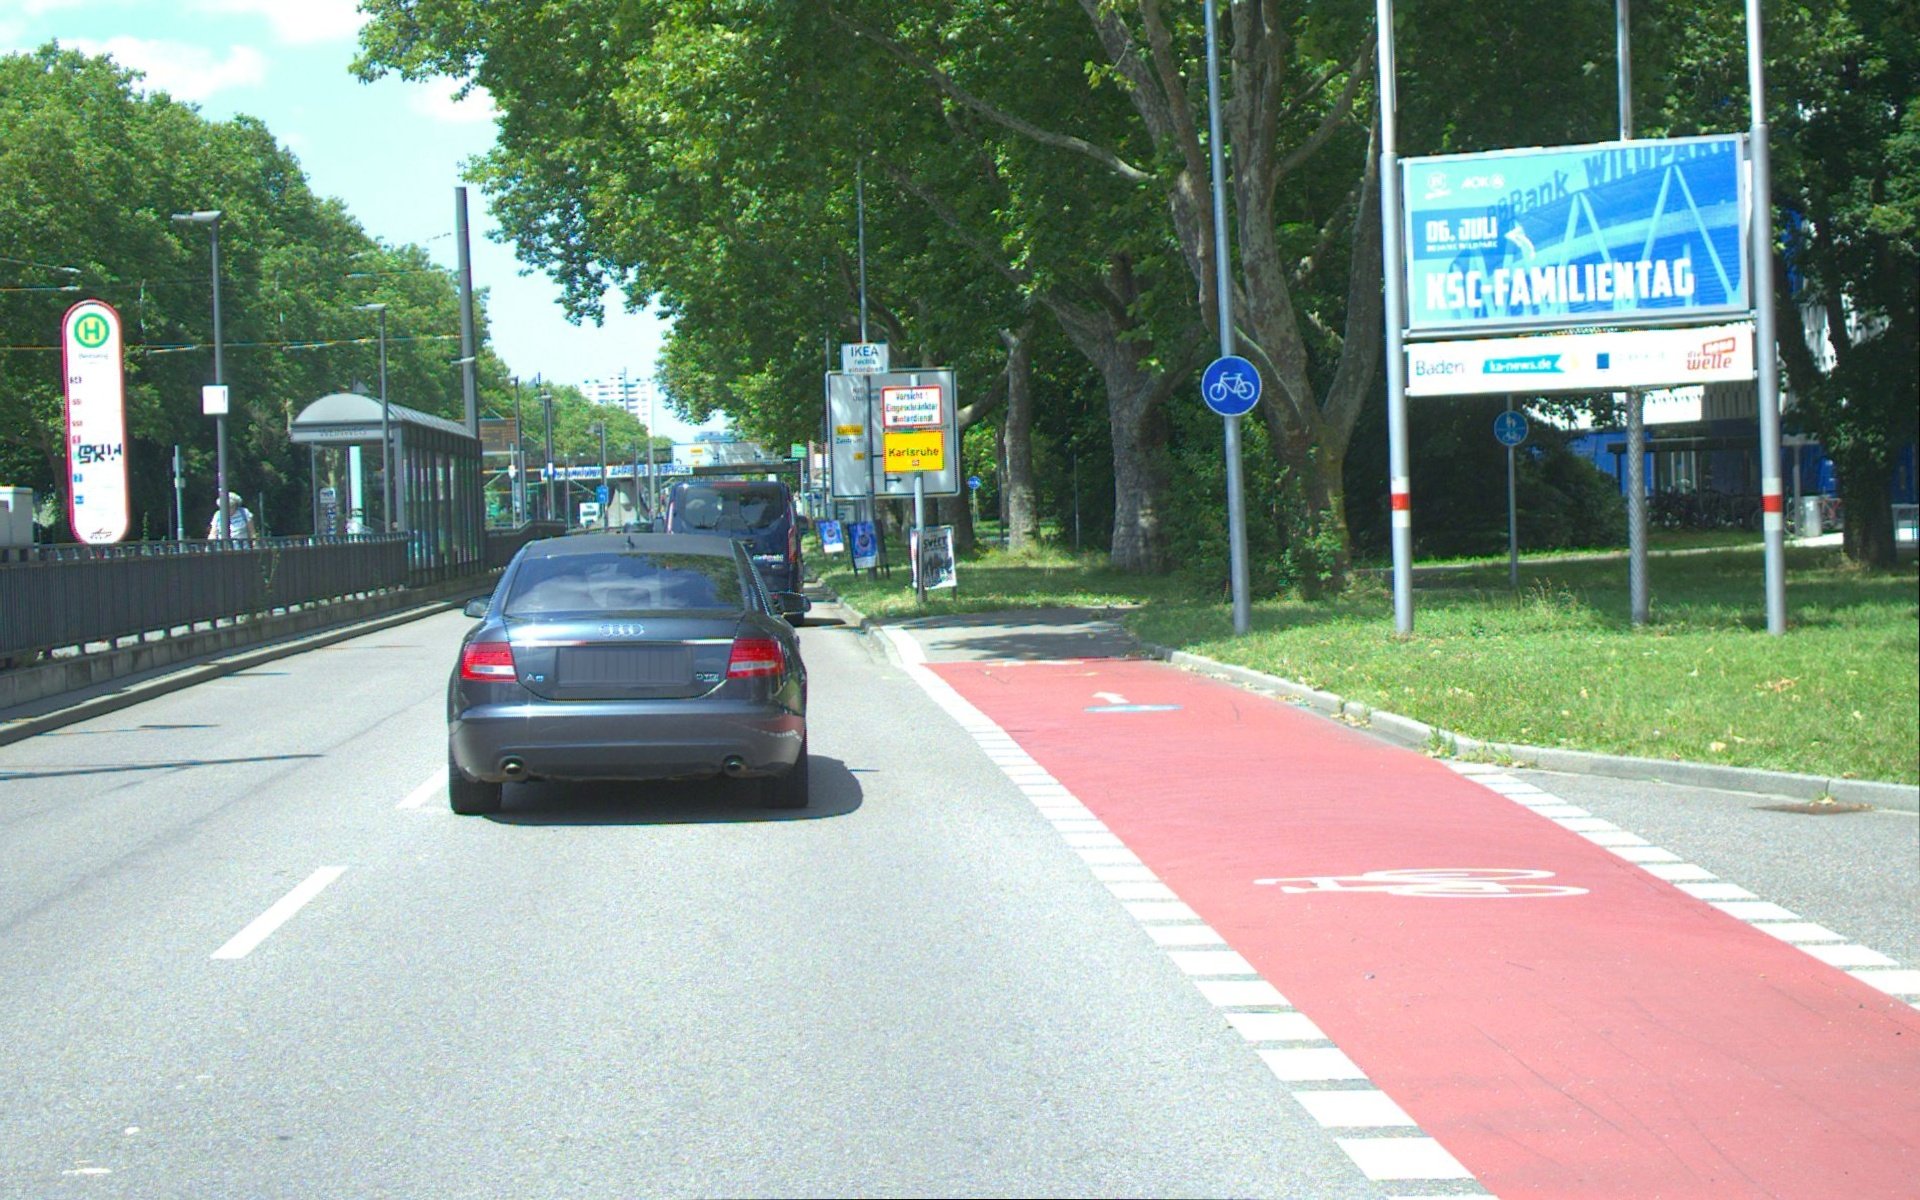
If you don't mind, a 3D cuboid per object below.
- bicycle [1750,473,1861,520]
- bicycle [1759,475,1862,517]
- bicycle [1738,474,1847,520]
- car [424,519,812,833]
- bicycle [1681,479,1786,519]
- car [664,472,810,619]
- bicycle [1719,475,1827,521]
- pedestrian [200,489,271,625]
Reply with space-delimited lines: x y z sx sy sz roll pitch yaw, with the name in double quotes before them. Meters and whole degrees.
"bicycle" 20.973 -2.563 85.272 2.545 1.107 0.759 -2 2 -7
"bicycle" 20.817 -2.542 84.148 2.315 0.957 0.759 -2 2 -7
"bicycle" 20.896 -2.582 86.316 2.545 1.107 0.759 -2 2 -7
"car" -1.792 0.317 18.517 1.842 1.479 4.001 -1 2 -4
"bicycle" 20.223 -2.645 89.873 2.545 0.967 0.759 -2 2 -7
"car" -3.078 -0.782 48.047 1.848 1.952 4.145 0 1 -1
"bicycle" 20.658 -2.601 87.361 2.545 1.107 0.759 -2 2 -7
"pedestrian" -9.030 -0.543 42.864 0.732 1.660 0.742 -1 2 -4
